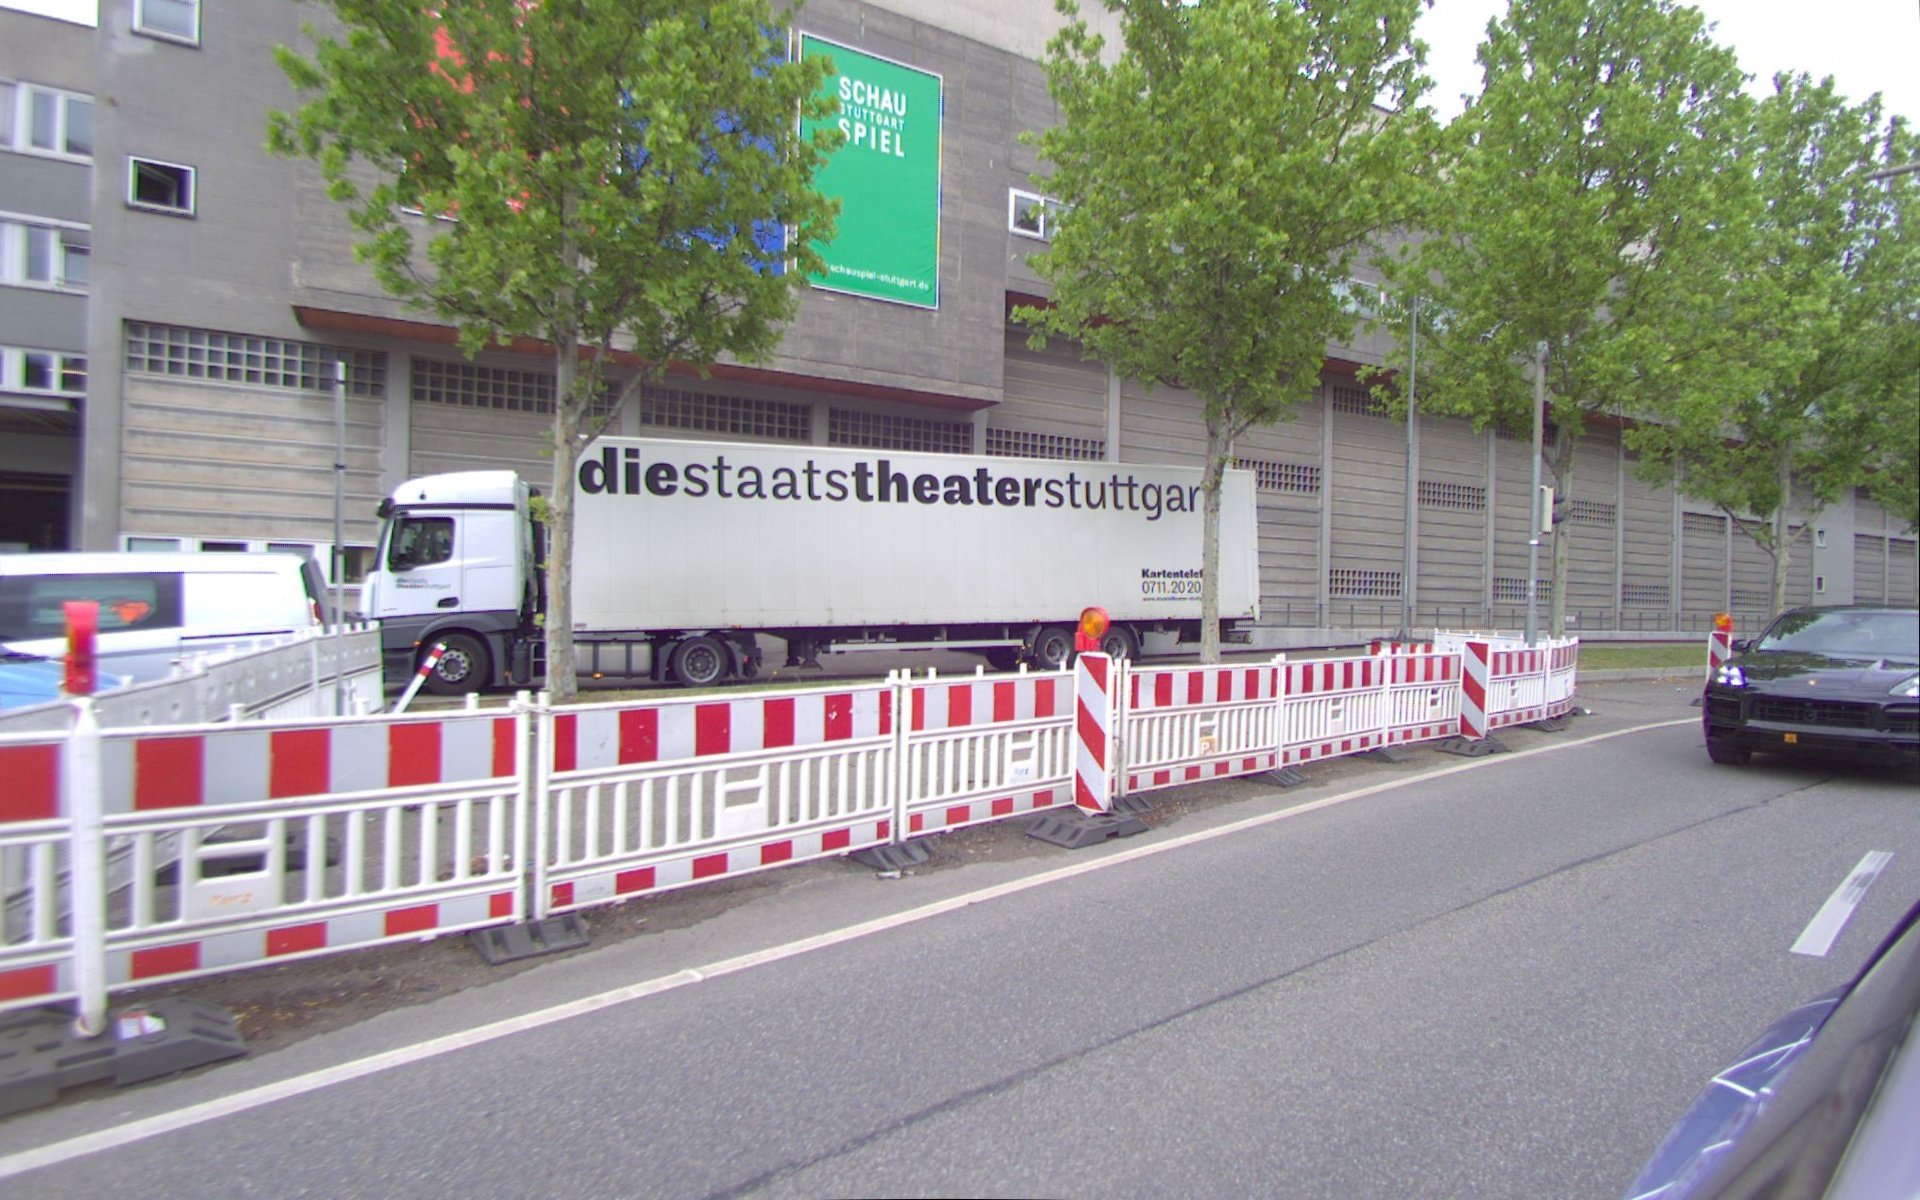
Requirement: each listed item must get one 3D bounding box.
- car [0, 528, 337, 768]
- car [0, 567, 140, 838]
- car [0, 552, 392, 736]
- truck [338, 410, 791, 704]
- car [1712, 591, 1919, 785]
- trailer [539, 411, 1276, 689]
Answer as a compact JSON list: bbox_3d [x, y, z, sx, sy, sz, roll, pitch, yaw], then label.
[{"bbox_3d":[-7.791,0.401,8.309,4.530,1.807,1.811,0,-3,-32],"label":"car"},{"bbox_3d":[-7.008,0.588,5.766,3.435,1.550,1.586,0,-1,-32],"label":"car"},{"bbox_3d":[-8.258,0.429,10.856,3.687,1.711,1.721,0,-1,-32],"label":"car"},{"bbox_3d":[-6.364,-0.596,16.915,6.436,4.137,3.147,0,-1,-23],"label":"truck"},{"bbox_3d":[9.558,0.783,10.473,4.125,1.679,1.906,1,-1,-40],"label":"car"},{"bbox_3d":[-0.591,-0.738,19.231,13.680,4.154,3.163,0,-2,-23],"label":"trailer"}]
